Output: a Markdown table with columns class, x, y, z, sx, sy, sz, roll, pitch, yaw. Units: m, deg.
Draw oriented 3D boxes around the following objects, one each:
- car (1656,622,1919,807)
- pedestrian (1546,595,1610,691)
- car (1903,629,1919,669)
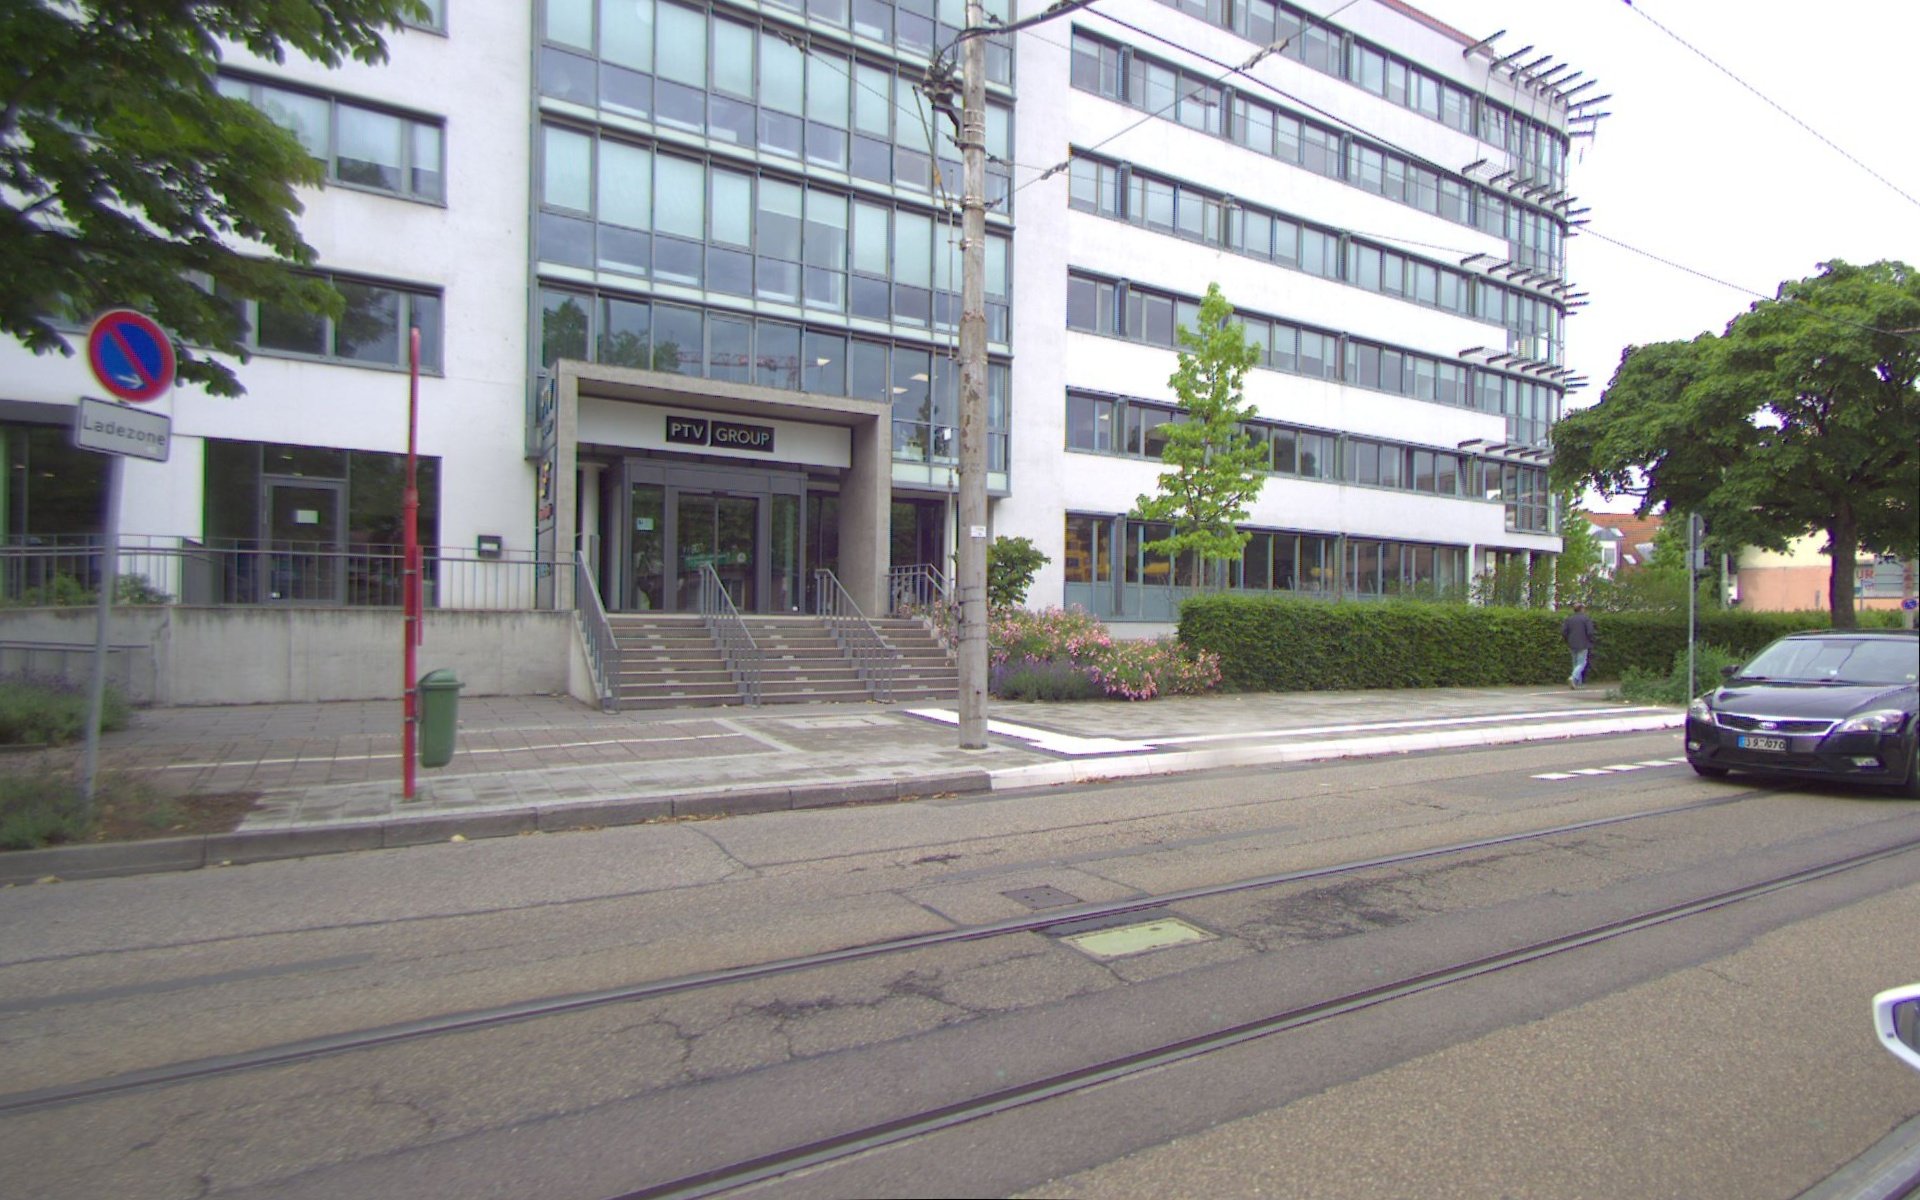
| class | x | y | z | sx | sy | sz | roll | pitch | yaw |
| --- | --- | --- | --- | --- | --- | --- | --- | --- | --- |
| car | 8.950 | 0.979 | 10.056 | 4.015 | 1.506 | 1.739 | 0 | -1 | -30 |
| pedestrian | 13.579 | 0.941 | 22.067 | 0.977 | 2.040 | 0.708 | 2 | 0 | -23 |
| car | 35.089 | 1.737 | 34.327 | 1.769 | 1.406 | 3.926 | 1 | -1 | -9 |
